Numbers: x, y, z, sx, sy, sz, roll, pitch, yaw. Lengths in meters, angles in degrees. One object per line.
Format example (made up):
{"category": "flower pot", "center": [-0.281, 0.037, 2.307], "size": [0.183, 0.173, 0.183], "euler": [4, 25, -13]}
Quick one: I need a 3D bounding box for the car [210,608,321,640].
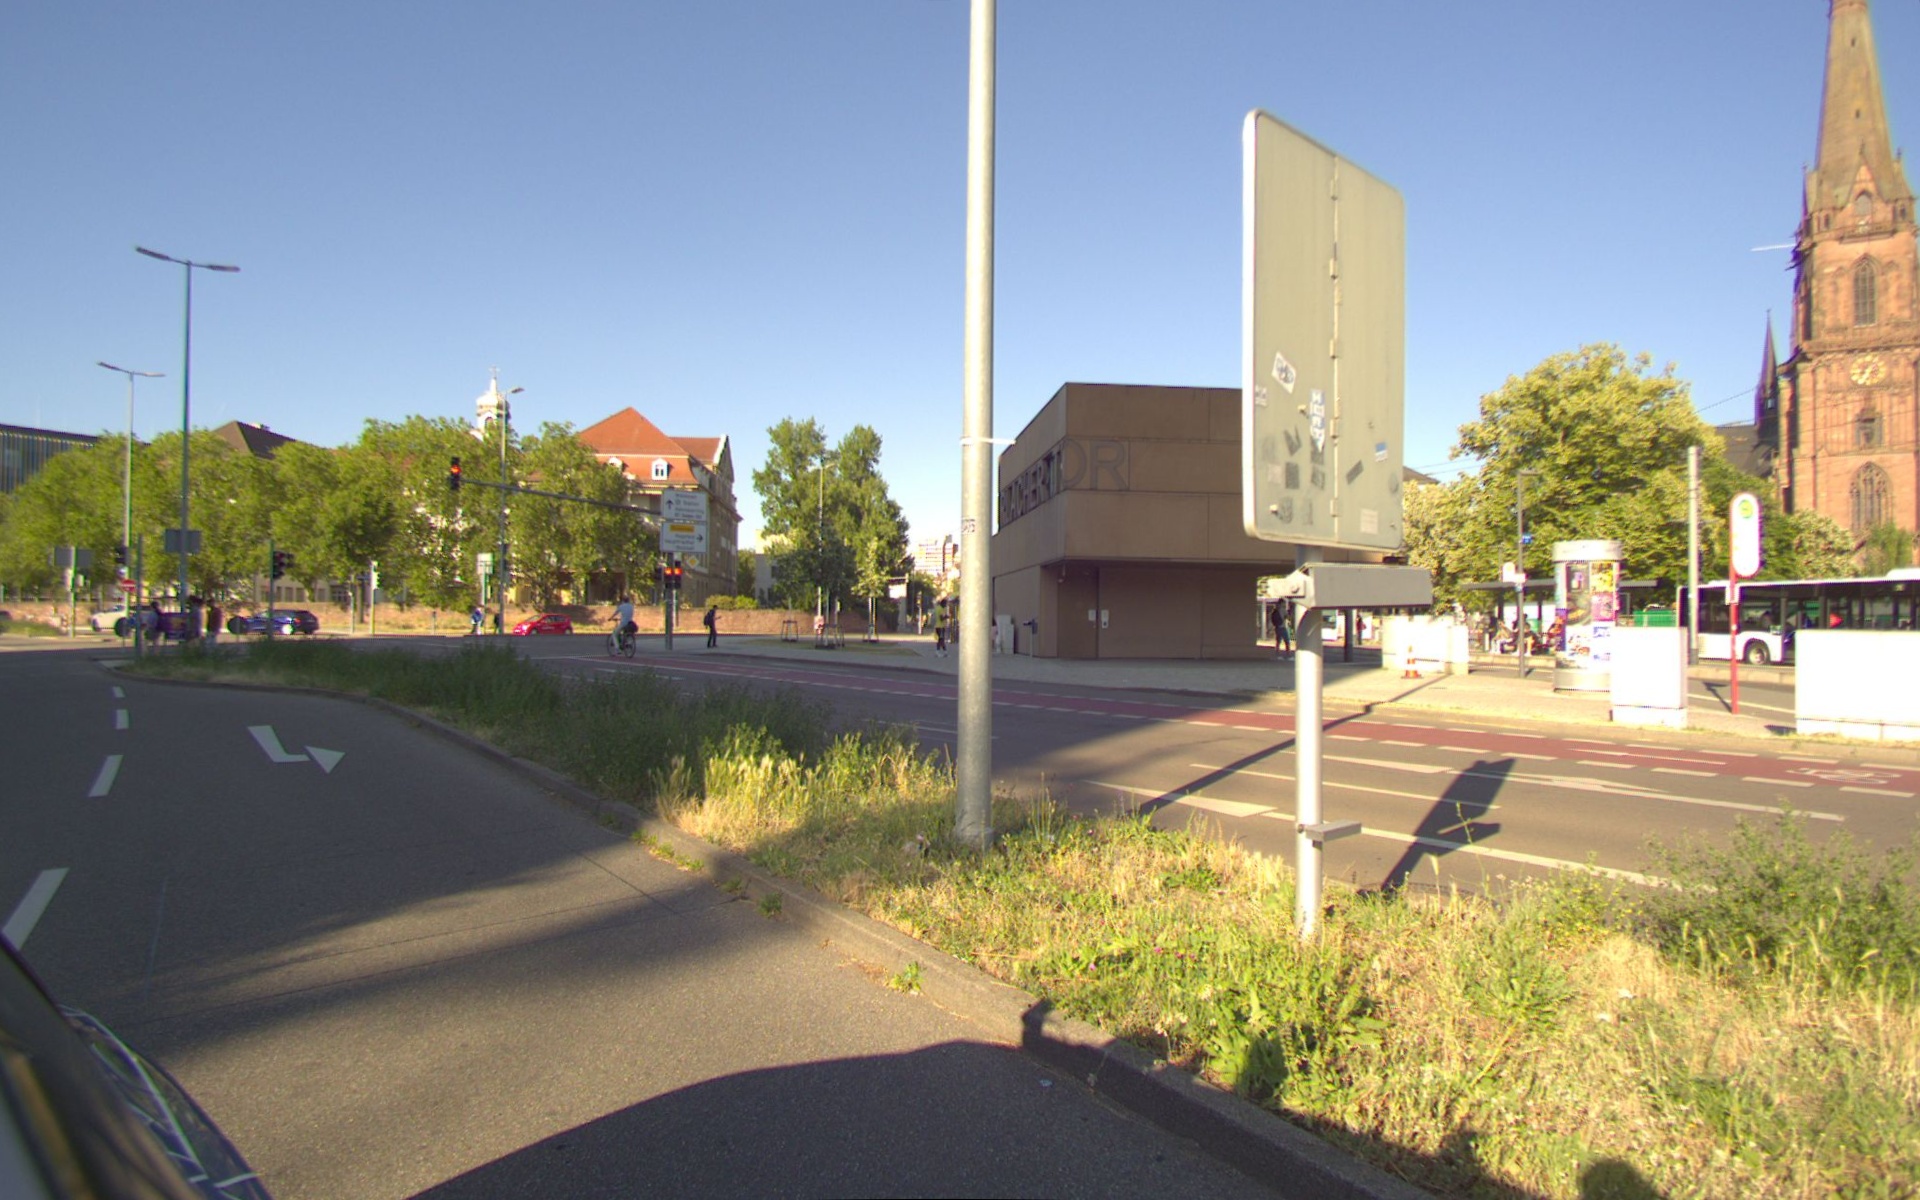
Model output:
{"category": "car", "center": [-37.499, 1.319, 54.801], "size": [4.527, 1.598, 2.202], "euler": [-1, -2, -17]}

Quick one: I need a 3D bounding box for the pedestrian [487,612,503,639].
{"category": "pedestrian", "center": [-29.750, 1.630, 64.808], "size": [0.780, 1.665, 0.715], "euler": [2, 1, -16]}

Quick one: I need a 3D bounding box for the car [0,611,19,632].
{"category": "car", "center": [-77.168, 1.695, 80.159], "size": [4.330, 1.632, 2.142], "euler": [0, -1, 21]}

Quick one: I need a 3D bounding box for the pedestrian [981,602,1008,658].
{"category": "pedestrian", "center": [1.101, 0.964, 32.266], "size": [0.725, 1.744, 0.666], "euler": [-1, -2, -7]}

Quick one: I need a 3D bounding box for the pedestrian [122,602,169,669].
{"category": "pedestrian", "center": [-21.796, 0.929, 27.087], "size": [0.913, 1.754, 0.758], "euler": [2, -2, -42]}

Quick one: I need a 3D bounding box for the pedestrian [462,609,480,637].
{"category": "pedestrian", "center": [-30.276, 1.426, 62.636], "size": [0.858, 1.686, 0.714], "euler": [2, 1, -37]}

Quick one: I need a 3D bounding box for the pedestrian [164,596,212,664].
{"category": "pedestrian", "center": [-20.275, 0.779, 26.568], "size": [0.913, 1.754, 0.758], "euler": [1, -2, -42]}

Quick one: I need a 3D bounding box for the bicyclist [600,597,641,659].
{"category": "bicyclist", "center": [-10.373, 0.837, 30.921], "size": [1.013, 1.846, 0.732], "euler": [0, -1, 40]}

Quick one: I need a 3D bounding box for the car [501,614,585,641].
{"category": "car", "center": [-25.801, 1.712, 62.724], "size": [2.183, 1.598, 4.566], "euler": [-2, -2, 26]}

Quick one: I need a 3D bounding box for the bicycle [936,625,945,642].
{"category": "bicycle", "center": [-1.314, 2.232, 67.118], "size": [0.559, 1.062, 1.974], "euler": [-1, -1, -1]}

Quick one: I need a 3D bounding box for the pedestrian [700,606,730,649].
{"category": "pedestrian", "center": [-9.592, 1.075, 39.637], "size": [0.886, 1.697, 0.749], "euler": [2, -2, -42]}

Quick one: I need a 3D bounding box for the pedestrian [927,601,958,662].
{"category": "pedestrian", "center": [-0.551, 0.965, 31.326], "size": [0.706, 1.849, 0.641], "euler": [0, -3, -32]}

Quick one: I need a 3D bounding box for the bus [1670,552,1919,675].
{"category": "bus", "center": [27.436, 0.424, 29.837], "size": [3.200, 3.342, 12.205], "euler": [4, 1, -6]}

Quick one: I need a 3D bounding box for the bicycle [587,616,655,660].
{"category": "bicycle", "center": [-10.377, 1.135, 30.921], "size": [2.554, 1.265, 0.732], "euler": [0, -1, 40]}

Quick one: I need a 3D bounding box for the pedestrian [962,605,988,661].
{"category": "pedestrian", "center": [0.460, 1.027, 31.250], "size": [0.628, 1.702, 0.552], "euler": [-1, -2, -19]}

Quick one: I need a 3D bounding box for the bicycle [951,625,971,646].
{"category": "bicycle", "center": [0.045, 1.973, 55.882], "size": [0.733, 1.114, 2.129], "euler": [-1, -2, -10]}

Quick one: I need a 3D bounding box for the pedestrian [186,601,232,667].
{"category": "pedestrian", "center": [-20.410, 0.928, 27.502], "size": [0.913, 1.754, 0.788], "euler": [2, -2, -42]}

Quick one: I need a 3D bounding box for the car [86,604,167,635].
{"category": "car", "center": [-49.830, 1.160, 60.475], "size": [4.585, 1.697, 2.174], "euler": [-2, -2, 28]}

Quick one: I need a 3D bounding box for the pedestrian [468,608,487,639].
{"category": "pedestrian", "center": [-30.290, 1.459, 63.550], "size": [0.858, 1.908, 0.714], "euler": [2, 1, -37]}

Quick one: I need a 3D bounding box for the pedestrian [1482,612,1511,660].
{"category": "pedestrian", "center": [22.805, 1.521, 43.017], "size": [0.804, 1.997, 0.755], "euler": [1, -2, -4]}

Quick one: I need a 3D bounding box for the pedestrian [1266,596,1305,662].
{"category": "pedestrian", "center": [10.159, 0.908, 31.609], "size": [0.966, 1.997, 0.720], "euler": [1, -2, -6]}

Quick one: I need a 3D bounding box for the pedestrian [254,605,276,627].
{"category": "pedestrian", "center": [-48.477, 1.128, 70.585], "size": [0.920, 1.548, 0.963], "euler": [0, -2, 33]}

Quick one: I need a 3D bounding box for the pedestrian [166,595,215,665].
{"category": "pedestrian", "center": [-19.686, 0.766, 25.897], "size": [0.913, 1.754, 0.758], "euler": [1, -2, -42]}

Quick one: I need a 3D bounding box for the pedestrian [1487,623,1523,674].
{"category": "pedestrian", "center": [21.781, 1.929, 40.449], "size": [0.982, 1.997, 0.830], "euler": [1, -2, -4]}

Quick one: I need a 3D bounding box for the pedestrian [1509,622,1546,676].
{"category": "pedestrian", "center": [21.697, 1.870, 38.685], "size": [0.966, 1.997, 0.719], "euler": [1, -2, -4]}
